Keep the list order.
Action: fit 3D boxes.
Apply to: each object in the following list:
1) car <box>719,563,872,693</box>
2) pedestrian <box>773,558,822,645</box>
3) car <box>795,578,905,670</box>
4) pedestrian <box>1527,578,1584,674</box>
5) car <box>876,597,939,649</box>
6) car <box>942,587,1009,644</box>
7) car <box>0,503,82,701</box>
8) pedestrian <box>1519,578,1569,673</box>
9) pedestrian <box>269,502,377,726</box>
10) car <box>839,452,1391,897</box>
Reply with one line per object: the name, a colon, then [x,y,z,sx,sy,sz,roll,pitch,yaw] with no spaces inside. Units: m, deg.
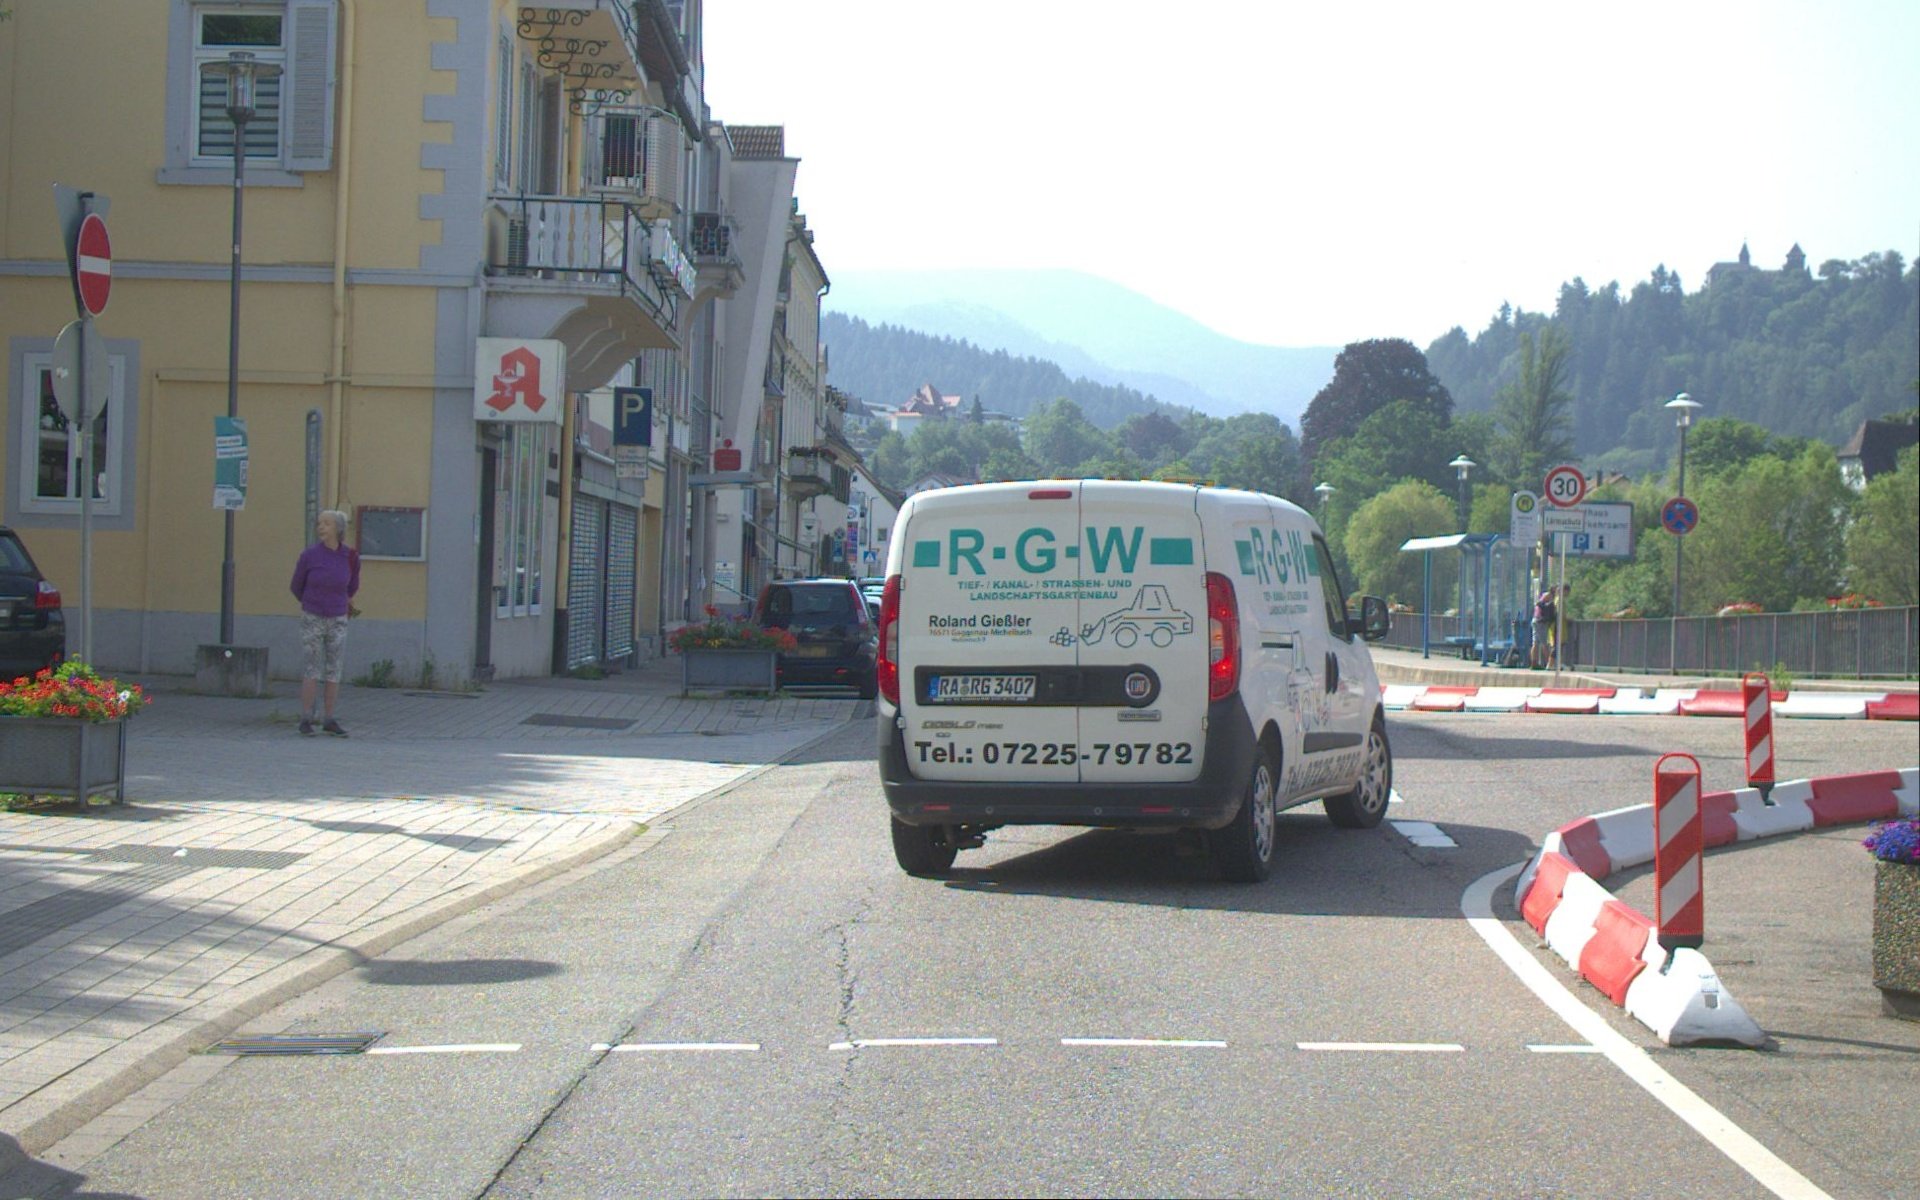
car: [-2.069,0.334,44.060,1.846,1.563,3.568,1,0,-1]
pedestrian: [-3.214,0.034,68.016,0.690,1.691,0.659,1,0,27]
car: [-1.814,0.375,57.143,1.747,1.443,3.795,1,0,-1]
pedestrian: [10.770,0.465,62.215,0.867,1.700,0.777,2,0,2]
car: [-1.534,0.643,99.736,1.747,1.443,3.276,1,0,-1]
car: [0.476,0.469,107.859,1.993,1.656,4.000,2,0,0]
car: [-8.997,-0.090,28.711,1.917,1.537,3.959,2,2,-35]
pedestrian: [10.676,0.460,62.861,0.789,1.700,0.491,2,0,2]
pedestrian: [-4.975,0.100,26.875,0.678,1.709,0.617,2,1,-1]
car: [0.925,0.294,17.241,1.845,1.899,4.312,2,1,15]
